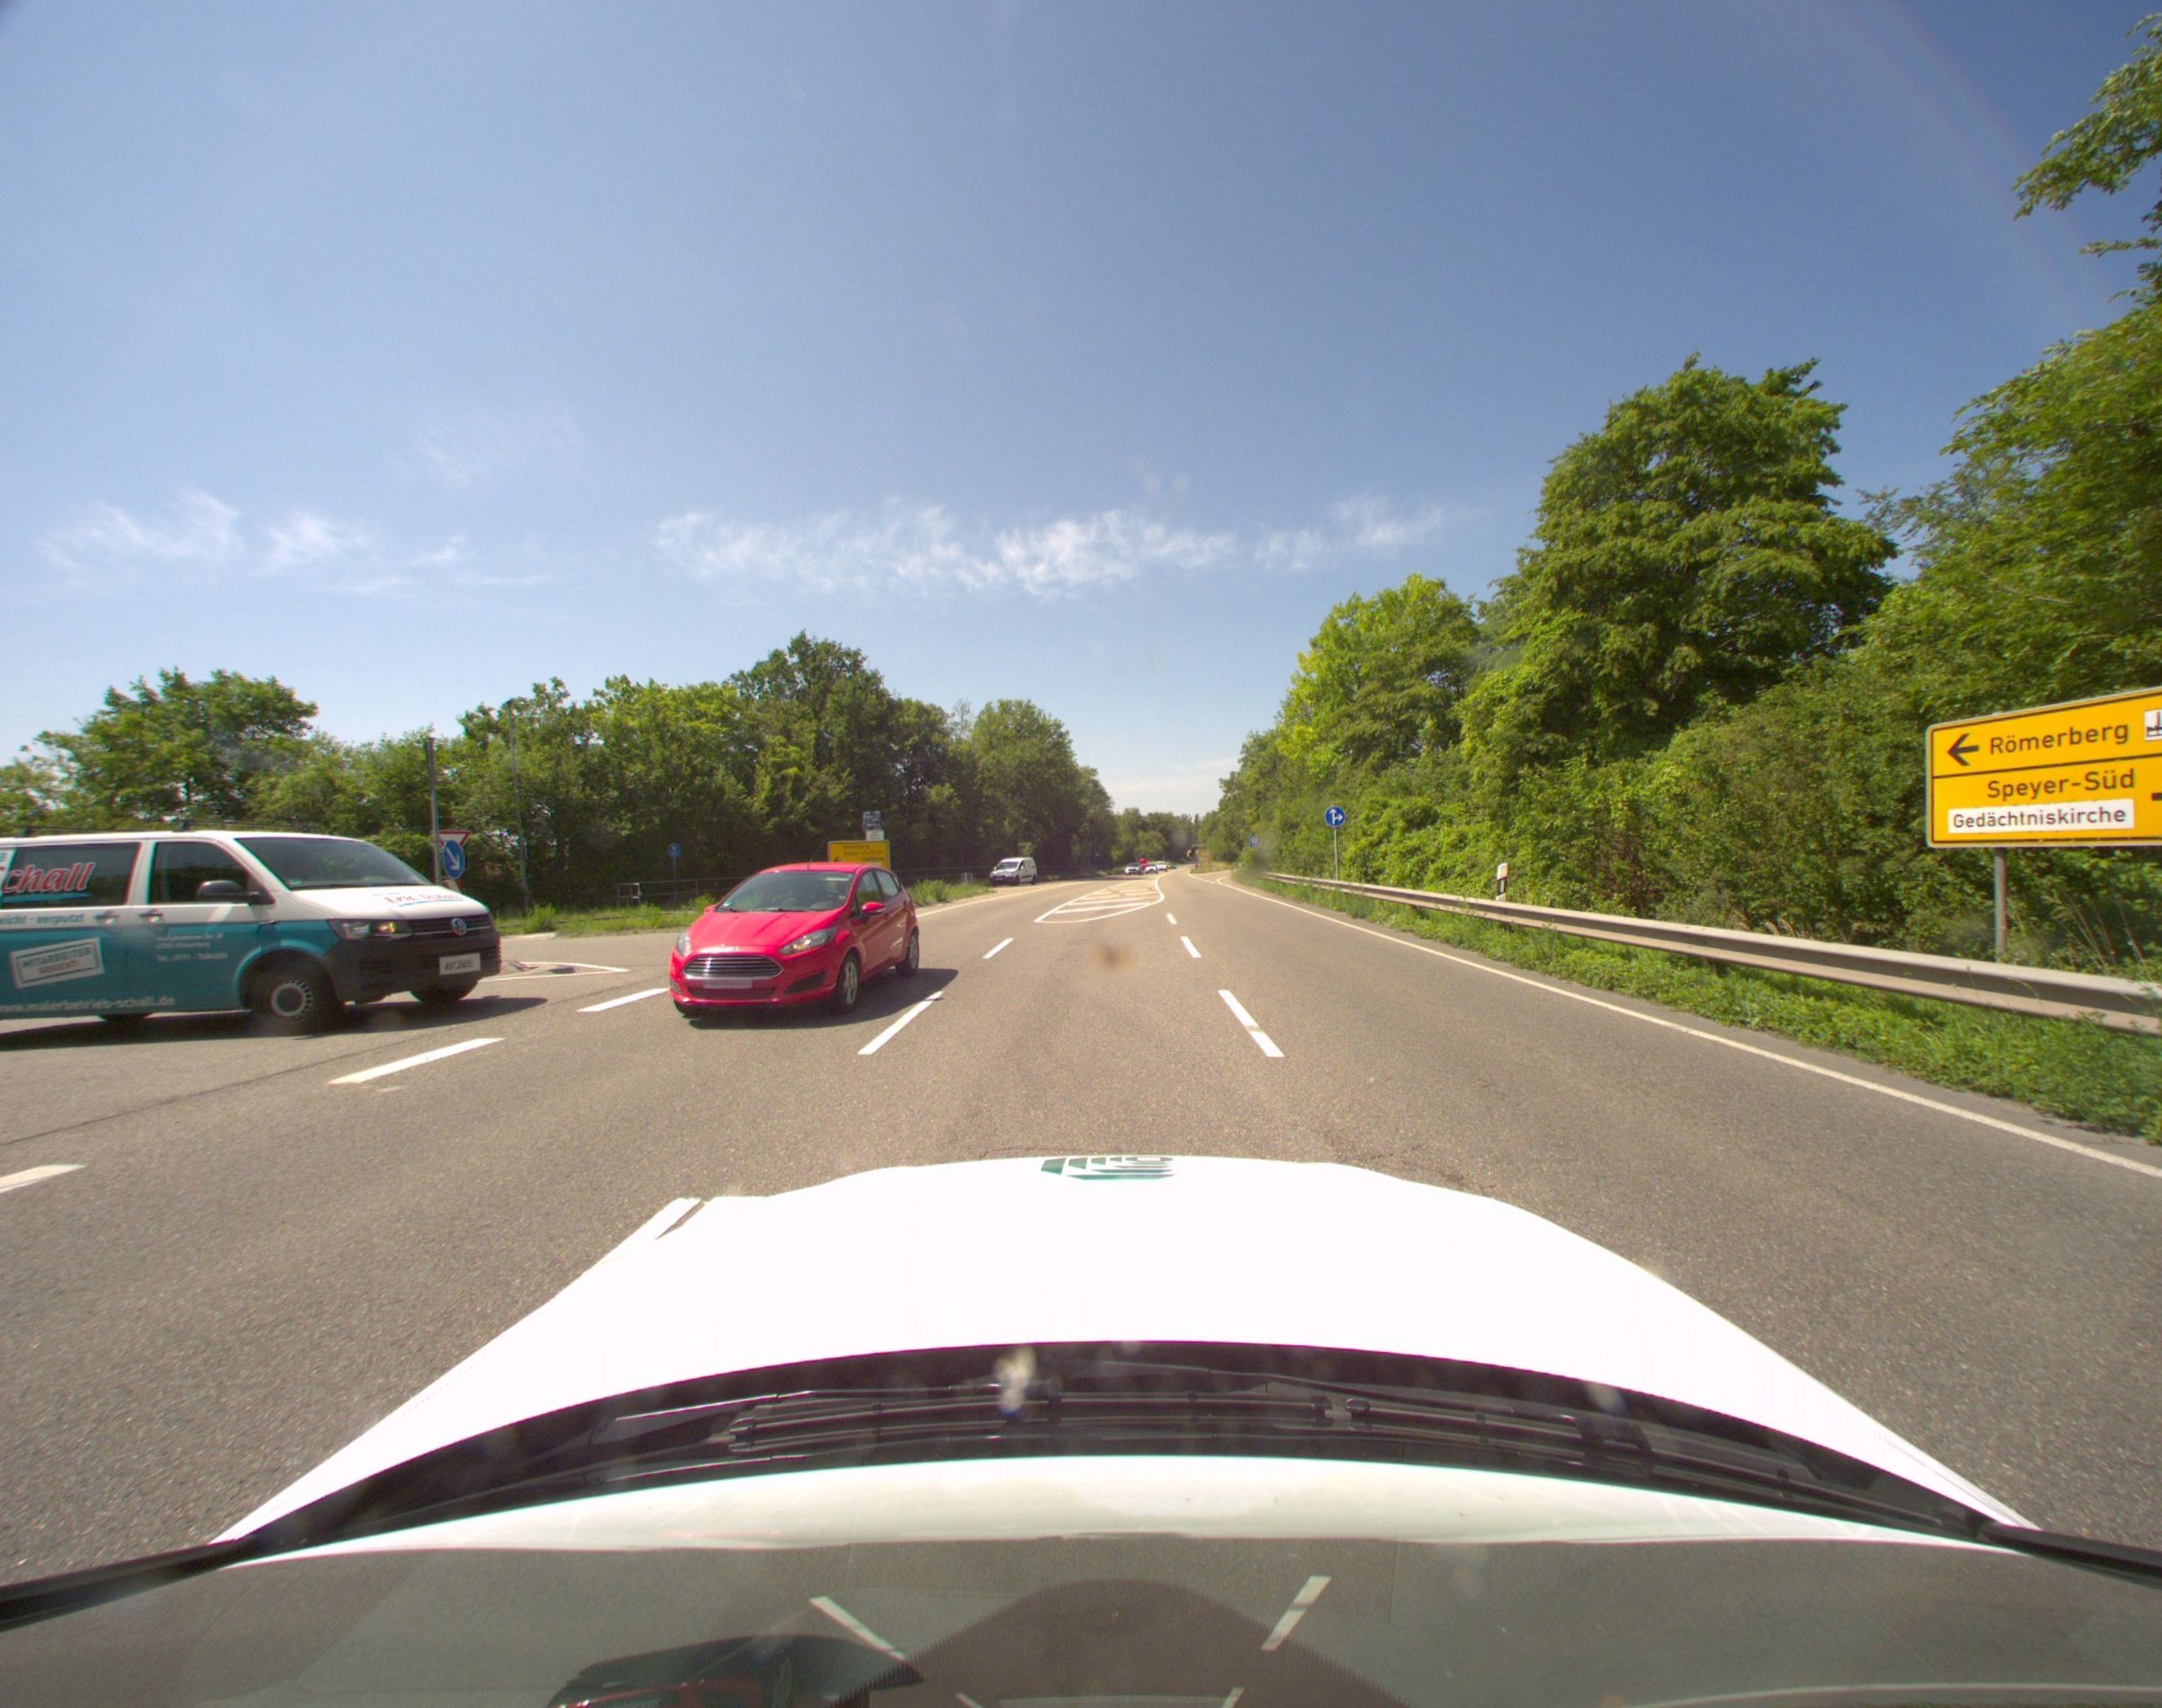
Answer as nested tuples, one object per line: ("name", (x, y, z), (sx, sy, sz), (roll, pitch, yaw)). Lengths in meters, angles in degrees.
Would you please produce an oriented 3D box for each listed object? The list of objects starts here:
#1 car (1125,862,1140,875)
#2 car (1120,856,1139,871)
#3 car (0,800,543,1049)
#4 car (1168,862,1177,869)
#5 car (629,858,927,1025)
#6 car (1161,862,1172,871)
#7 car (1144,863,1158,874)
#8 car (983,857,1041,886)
("car", (6.640, 1.899, 105.184), (1.668, 1.527, 4.009), (-2, 0, 8))
("car", (10.488, 2.017, 177.571), (2.004, 3.226, 4.767), (-1, 0, -26))
("car", (-8.766, 0.673, 8.247), (5.155, 2.027, 1.999), (-3, 0, -1))
("car", (20.092, 2.522, 179.262), (1.710, 1.509, 3.718), (-2, 0, 9))
("car", (-3.053, 0.790, 9.112), (1.803, 1.458, 3.759), (-1, 0, 2))
("car", (14.876, 2.219, 141.960), (1.710, 1.528, 3.718), (-2, 0, 9))
("car", (10.479, 2.082, 121.009), (1.667, 1.527, 4.011), (-2, 0, 10))
("car", (-4.378, 1.095, 52.514), (1.976, 1.730, 4.296), (-2, 0, 21))
